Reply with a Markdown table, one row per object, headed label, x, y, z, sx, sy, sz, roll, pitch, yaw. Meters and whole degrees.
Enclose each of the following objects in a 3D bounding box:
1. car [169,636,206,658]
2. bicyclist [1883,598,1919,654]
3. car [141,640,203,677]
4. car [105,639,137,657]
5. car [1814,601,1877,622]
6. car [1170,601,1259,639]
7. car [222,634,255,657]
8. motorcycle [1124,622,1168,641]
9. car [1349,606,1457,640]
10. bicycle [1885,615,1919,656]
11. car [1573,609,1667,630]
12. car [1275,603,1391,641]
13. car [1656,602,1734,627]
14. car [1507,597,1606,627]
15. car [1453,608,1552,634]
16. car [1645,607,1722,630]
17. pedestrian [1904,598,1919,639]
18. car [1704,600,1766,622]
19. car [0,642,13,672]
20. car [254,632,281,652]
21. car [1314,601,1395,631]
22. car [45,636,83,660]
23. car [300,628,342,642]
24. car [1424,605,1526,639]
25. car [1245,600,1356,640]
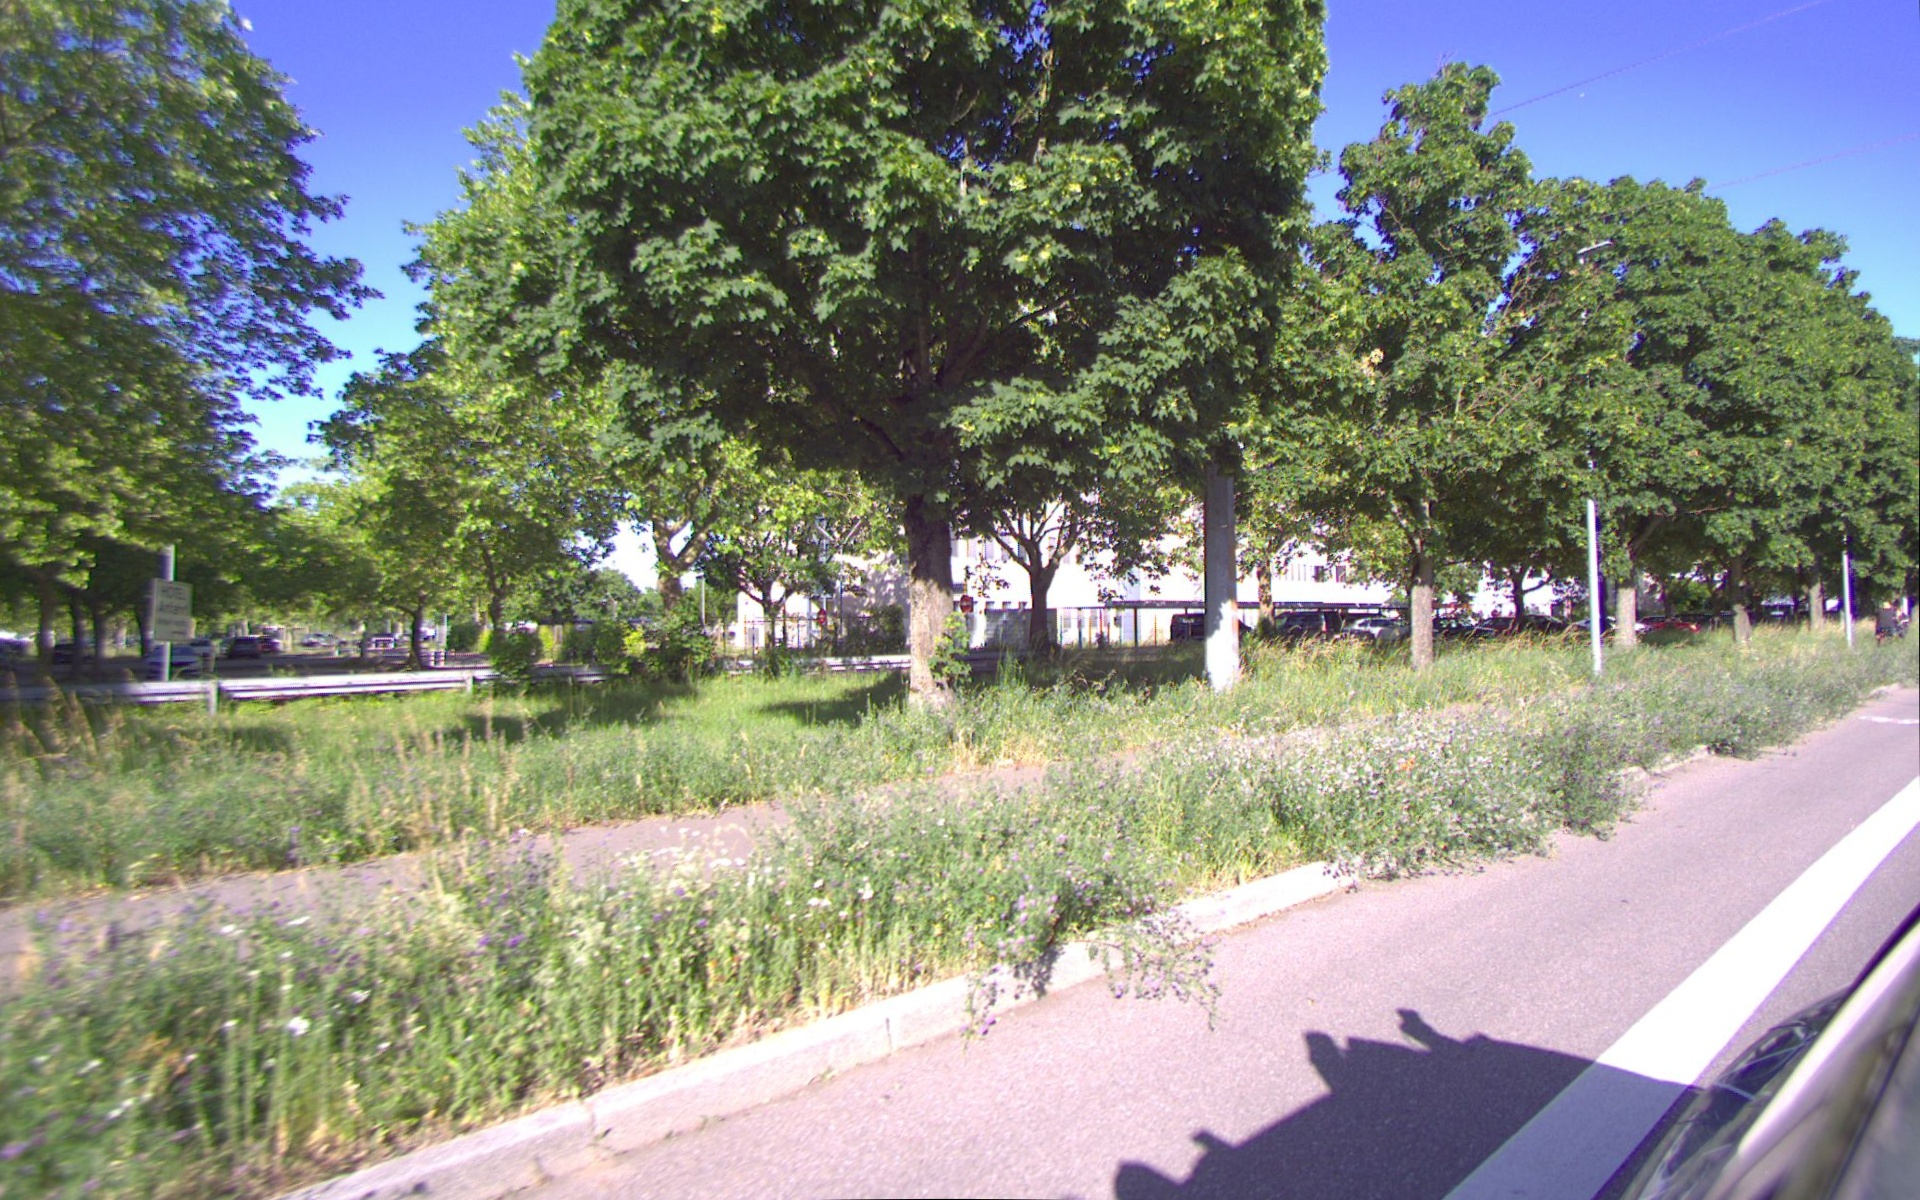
| label | x | y | z | sx | sy | sz | roll | pitch | yaw |
| --- | --- | --- | --- | --- | --- | --- | --- | --- | --- |
| car | -53.614 | 3.250 | 70.211 | 1.800 | 1.481 | 4.223 | 0 | -2 | -41 |
| bicyclist | 29.787 | 0.811 | 32.037 | 0.886 | 1.742 | 0.684 | 0 | -1 | -38 |
| car | -33.316 | 2.442 | 42.728 | 1.800 | 1.417 | 4.516 | 0 | -2 | -41 |
| car | -66.228 | 3.803 | 79.872 | 1.800 | 1.307 | 4.223 | 0 | -2 | -41 |
| car | 87.100 | 1.145 | 99.637 | 2.044 | 1.900 | 5.174 | -1 | -1 | 7 |
| car | 14.090 | 1.097 | 56.310 | 1.921 | 2.039 | 4.597 | 0 | -1 | -36 |
| car | -51.378 | 3.223 | 72.073 | 1.705 | 1.511 | 3.995 | 0 | -2 | -39 |
| motorcycle | 13.153 | 2.205 | 71.549 | 1.000 | 1.338 | 3.035 | 1 | -2 | -44 |
| car | 20.257 | 1.072 | 46.393 | 1.790 | 1.450 | 4.177 | 0 | -2 | -35 |
| bicycle | 29.830 | 1.108 | 32.028 | 2.104 | 1.220 | 0.484 | 0 | -2 | -39 |
| car | 41.518 | 1.231 | 63.741 | 1.775 | 1.287 | 4.705 | 2 | -2 | -40 |
| car | 15.530 | 0.912 | 42.322 | 1.657 | 1.478 | 4.369 | 0 | -1 | -35 |
| car | 52.187 | 1.033 | 71.880 | 4.333 | 1.722 | 1.739 | -1 | -1 | 43 |
| car | 33.206 | 0.696 | 56.462 | 1.851 | 1.617 | 4.397 | 0 | -1 | -41 |
| car | 28.875 | 1.108 | 53.969 | 1.902 | 1.341 | 4.307 | 2 | -2 | -33 |
| car | 50.339 | 1.236 | 70.450 | 4.228 | 1.555 | 1.739 | -1 | -1 | 43 |
| pedestrian | 38.195 | 0.729 | 40.211 | 0.748 | 1.589 | 0.826 | 0 | -2 | -37 |
| car | 59.468 | 0.856 | 77.775 | 1.691 | 1.660 | 3.985 | -1 | -1 | 1 |
| car | -49.191 | 2.879 | 51.114 | 1.800 | 1.481 | 4.223 | 0 | -2 | -41 |
| car | -60.030 | 3.648 | 87.722 | 1.797 | 1.696 | 4.228 | 0 | -2 | -36 |
| car | 26.678 | 1.104 | 68.525 | 1.938 | 1.975 | 4.759 | 1 | -2 | -38 |
| car | -58.179 | 3.119 | 65.756 | 1.800 | 1.481 | 4.223 | 0 | -2 | -41 |
| car | -77.229 | 4.233 | 122.329 | 4.158 | 1.481 | 1.828 | 0 | -2 | -42 |
| car | 24.728 | 1.064 | 48.680 | 1.677 | 1.545 | 3.999 | 0 | -2 | -41 |
| car | 13.798 | 0.810 | 41.210 | 1.706 | 1.525 | 4.039 | 0 | -1 | -37 |
